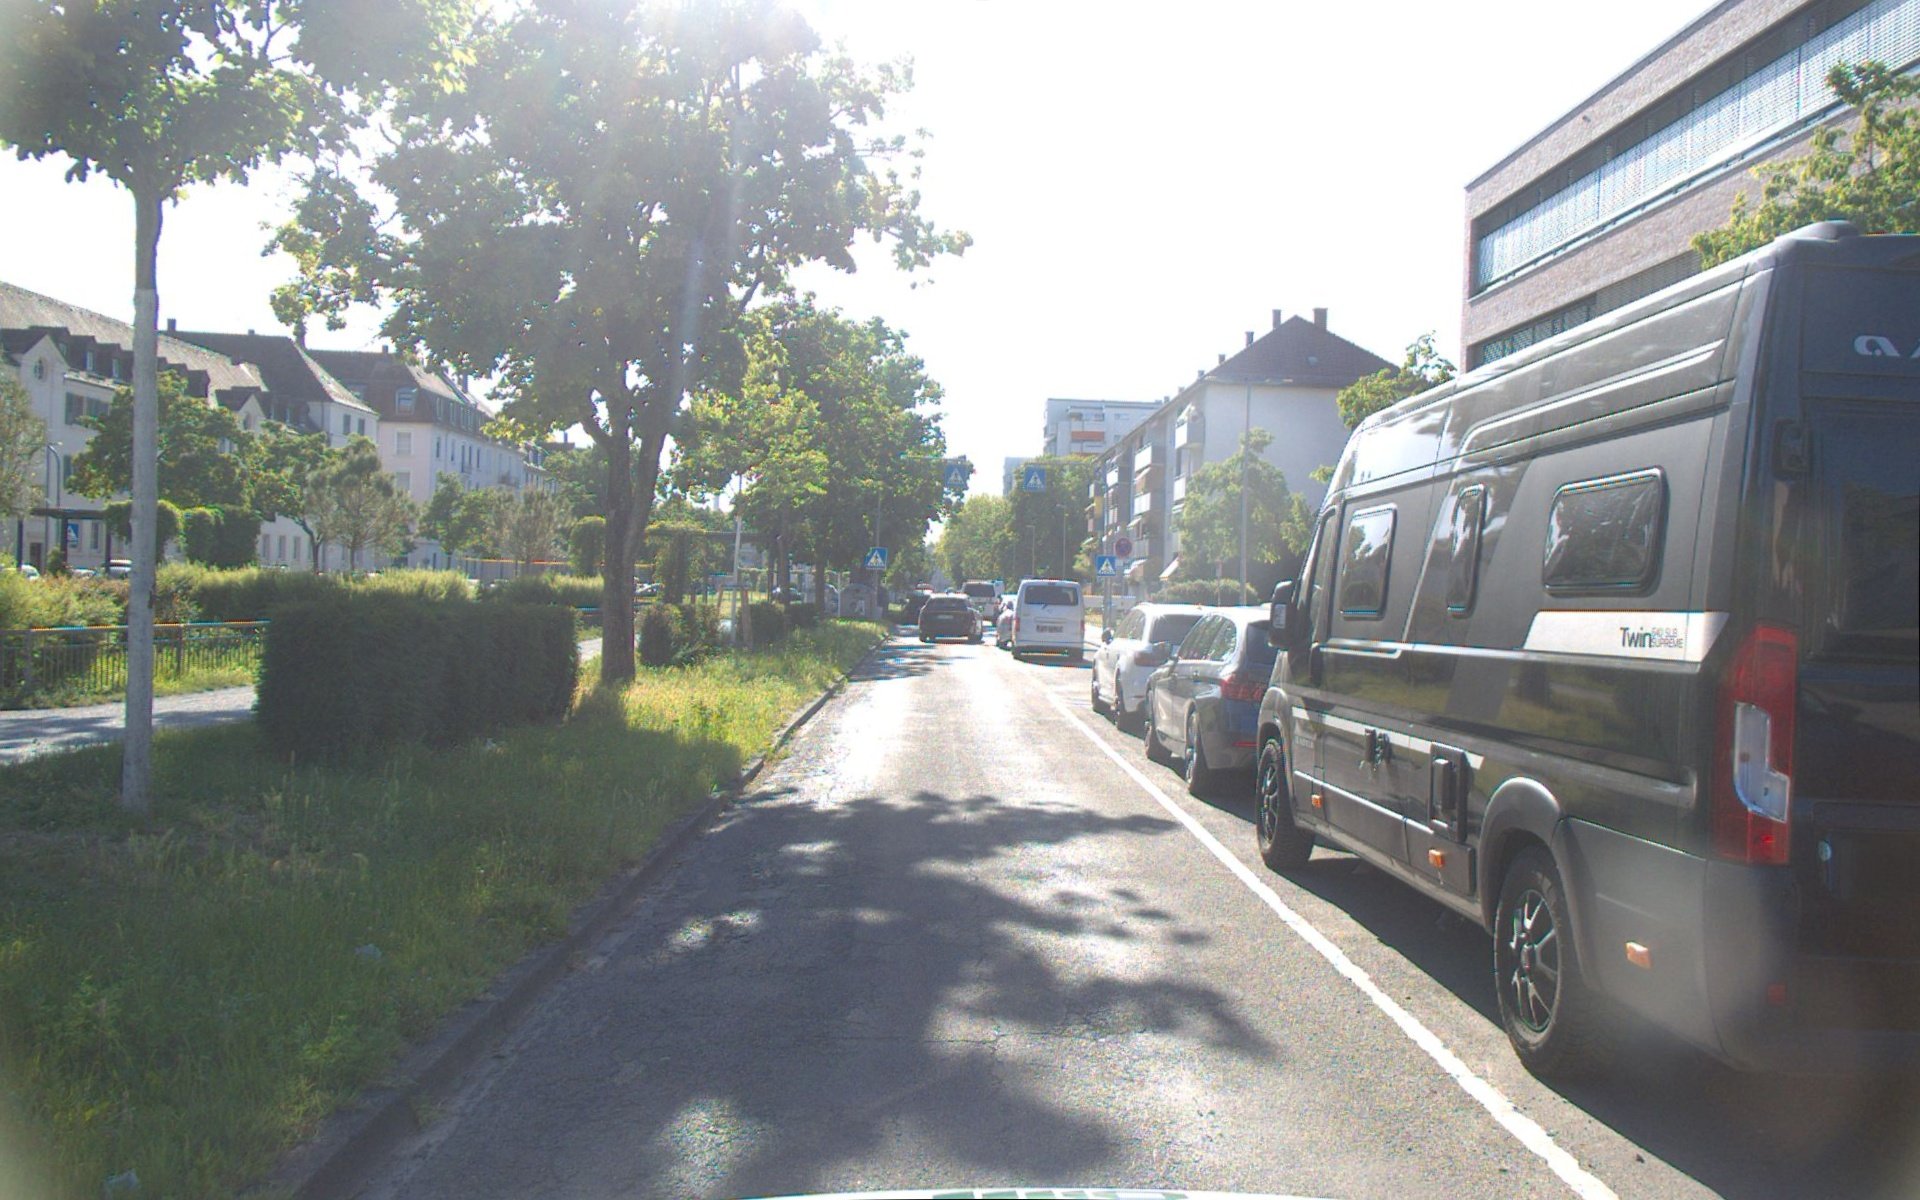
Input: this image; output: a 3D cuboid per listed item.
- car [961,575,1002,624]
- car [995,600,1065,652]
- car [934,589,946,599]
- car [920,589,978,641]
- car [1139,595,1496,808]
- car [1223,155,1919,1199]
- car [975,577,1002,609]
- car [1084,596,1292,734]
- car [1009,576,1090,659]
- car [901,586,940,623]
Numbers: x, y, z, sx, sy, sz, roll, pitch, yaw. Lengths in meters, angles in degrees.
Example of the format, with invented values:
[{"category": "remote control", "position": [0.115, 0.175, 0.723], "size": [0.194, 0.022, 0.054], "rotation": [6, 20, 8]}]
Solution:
[{"category": "car", "position": [0.956, -0.043, 76.493], "size": [1.758, 2.159, 3.999], "rotation": [2, 0, -1]}, {"category": "car", "position": [1.940, 0.719, 47.101], "size": [1.729, 1.342, 4.167], "rotation": [3, 0, -1]}, {"category": "car", "position": [-2.950, -0.869, 242.879], "size": [1.758, 1.537, 3.999], "rotation": [1, 0, -1]}, {"category": "car", "position": [-0.359, 0.456, 52.607], "size": [1.758, 1.536, 3.999], "rotation": [2, 0, -1]}, {"category": "car", "position": [2.770, 0.711, 13.955], "size": [1.953, 1.445, 4.635], "rotation": [1, 0, 0]}, {"category": "car", "position": [2.861, 0.227, 7.254], "size": [2.073, 2.559, 6.529], "rotation": [1, 0, -2]}, {"category": "car", "position": [2.382, -0.577, 138.828], "size": [1.953, 2.472, 4.499], "rotation": [3, 0, -1]}, {"category": "car", "position": [2.646, 0.701, 20.235], "size": [1.758, 1.445, 4.656], "rotation": [1, 0, -2]}, {"category": "car", "position": [2.145, 0.390, 40.635], "size": [1.757, 1.887, 4.414], "rotation": [2, 0, 1]}, {"category": "car", "position": [-1.839, 0.199, 78.120], "size": [1.758, 1.652, 3.999], "rotation": [2, 0, -1]}]
